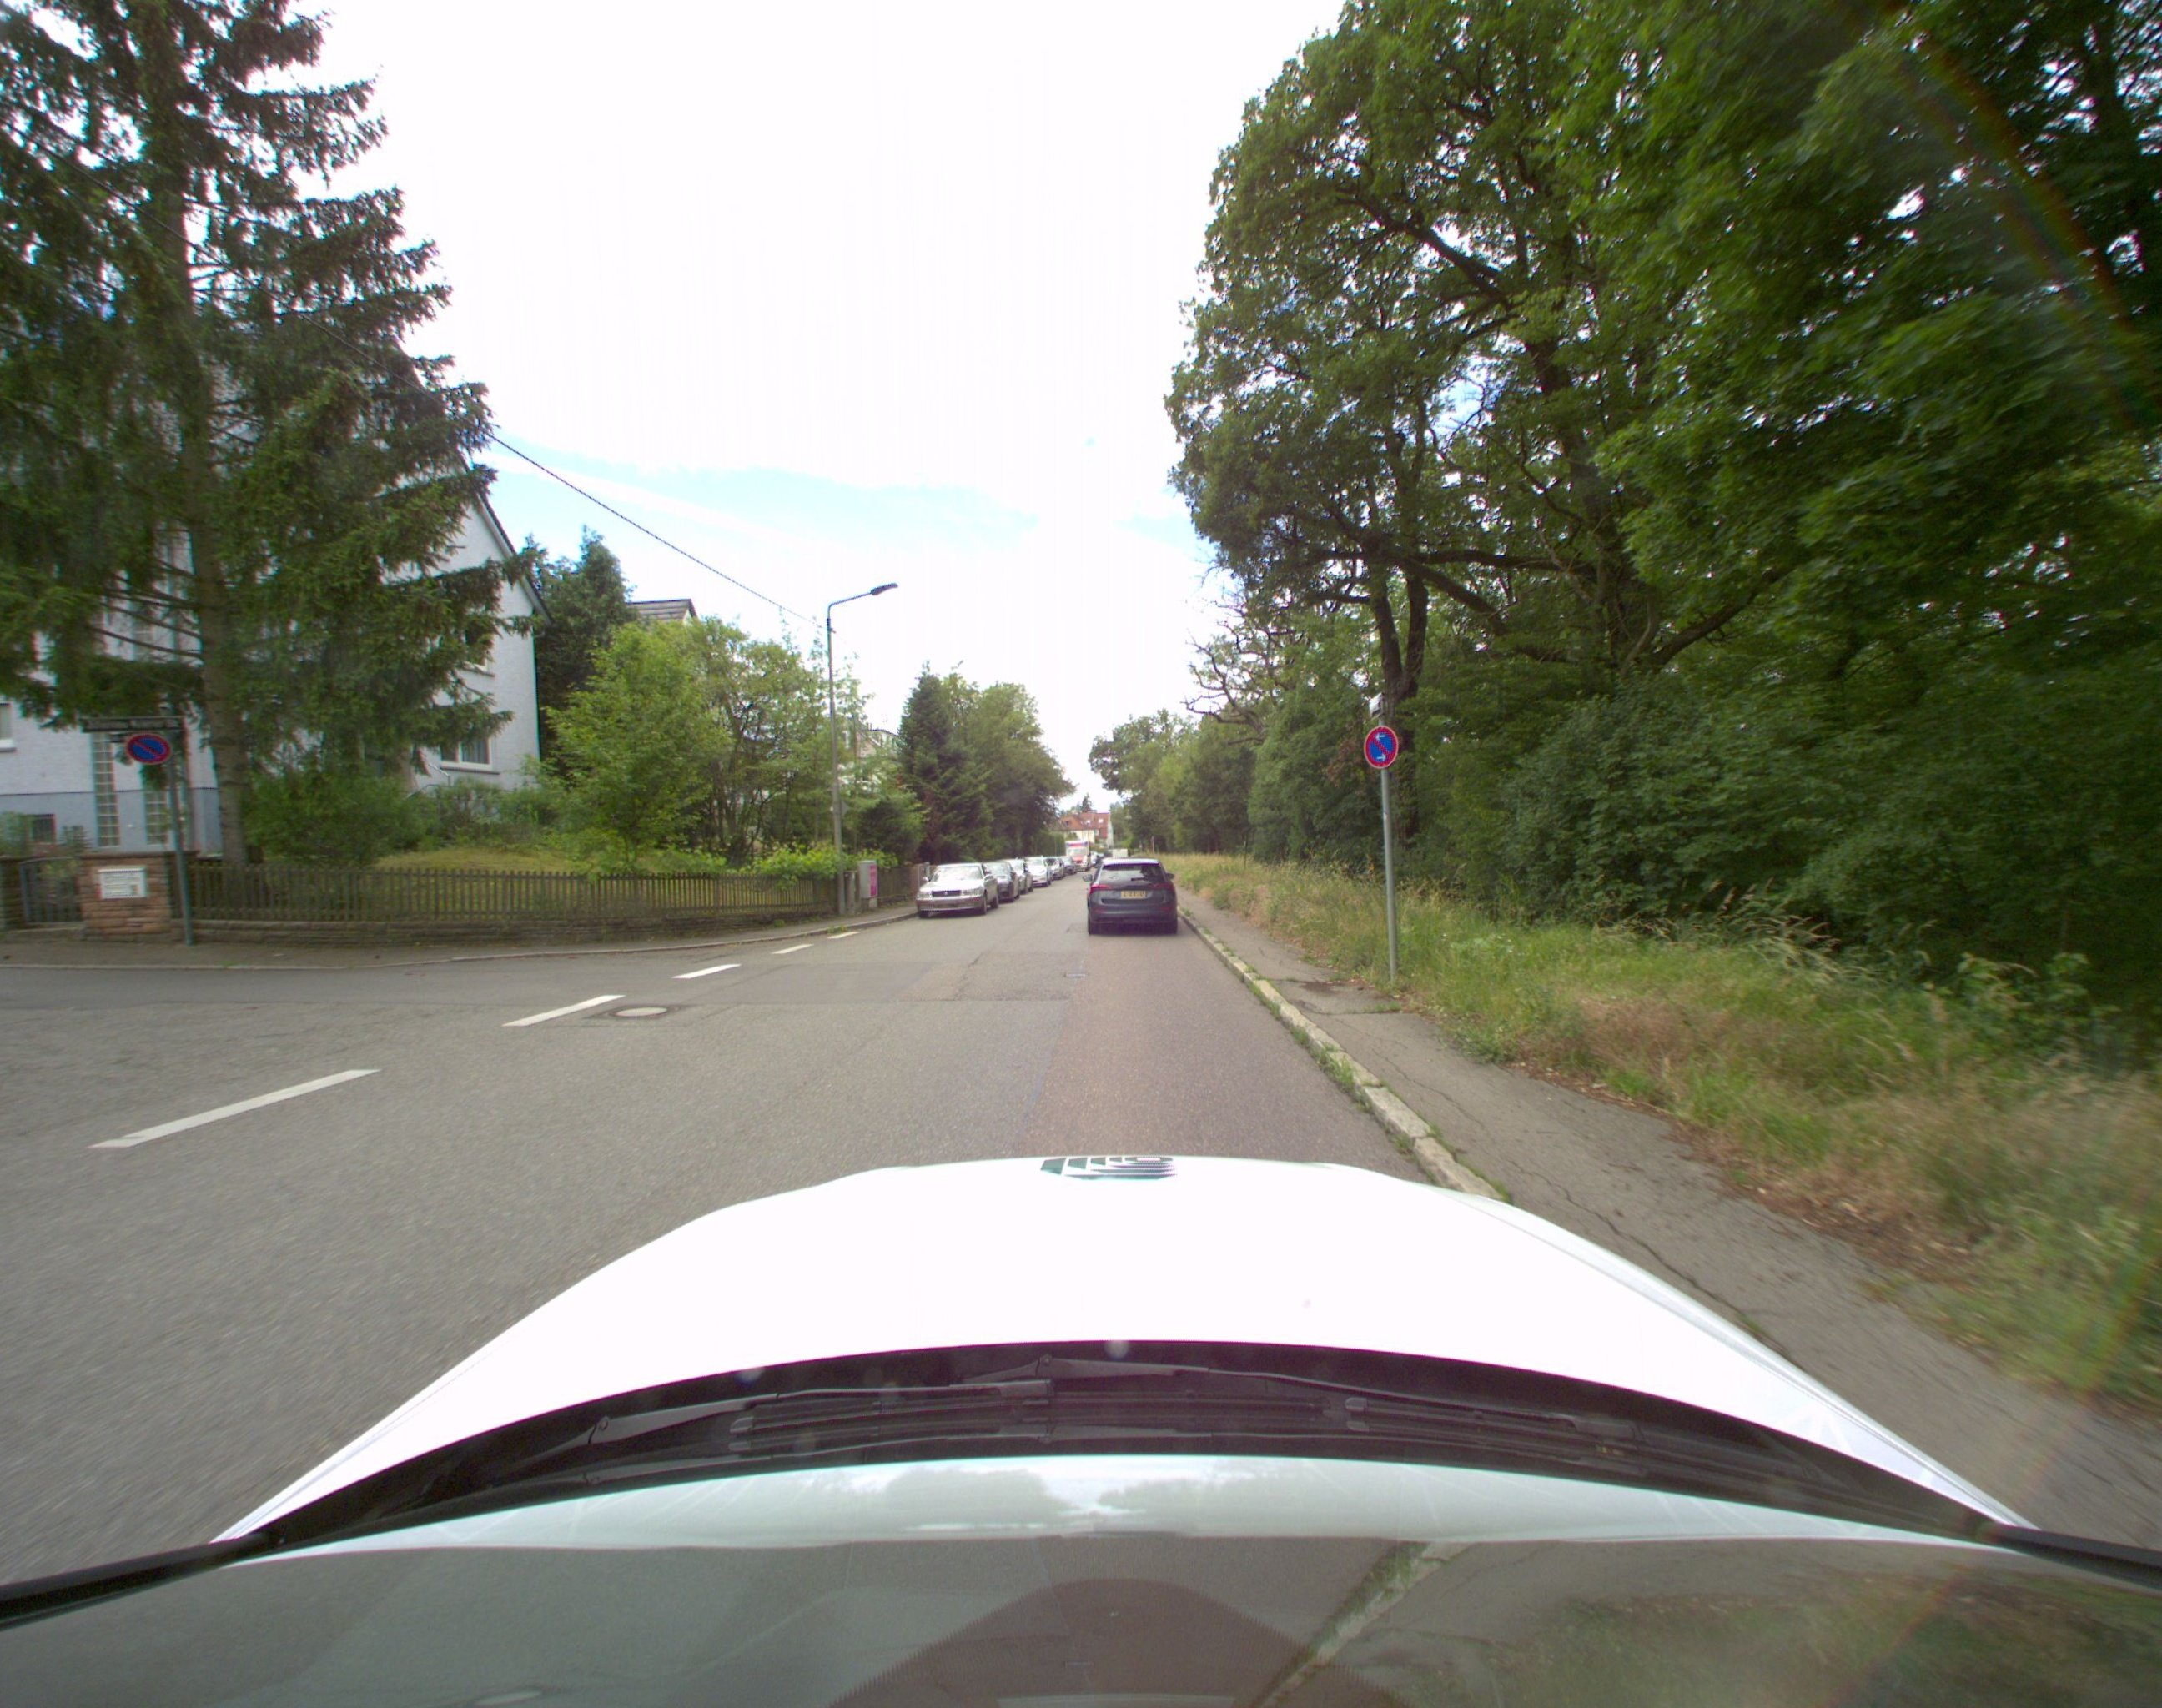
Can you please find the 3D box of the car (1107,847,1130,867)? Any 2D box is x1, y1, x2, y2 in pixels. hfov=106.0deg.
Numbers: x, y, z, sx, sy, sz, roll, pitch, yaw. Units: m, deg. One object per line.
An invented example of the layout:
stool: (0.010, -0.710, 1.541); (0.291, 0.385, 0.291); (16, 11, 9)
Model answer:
car: (3.789, 0.257, 83.709); (2.065, 1.922, 4.921); (-1, 0, -1)

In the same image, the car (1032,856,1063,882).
car: (-2.104, 0.929, 52.315); (1.715, 1.505, 4.007); (-4, 0, 0)

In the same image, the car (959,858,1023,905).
car: (-3.123, 0.915, 29.034); (1.729, 1.439, 4.261); (-3, 0, 0)

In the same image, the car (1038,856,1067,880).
car: (-1.969, 0.984, 57.680); (1.714, 1.505, 4.062); (-4, 0, 2)

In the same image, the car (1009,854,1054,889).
car: (-2.490, 0.835, 42.033); (1.910, 1.562, 4.603); (-4, 0, 0)

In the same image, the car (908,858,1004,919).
car: (-3.401, 0.888, 23.125); (1.842, 1.439, 4.910); (-3, 0, 1)

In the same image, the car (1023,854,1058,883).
car: (-2.294, 0.819, 47.457); (1.715, 1.504, 3.817); (-4, 0, 0)

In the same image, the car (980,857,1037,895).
car: (-3.033, 0.908, 35.045); (1.827, 1.439, 4.119); (-3, 0, 2)

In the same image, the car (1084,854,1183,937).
car: (0.959, 0.752, 16.912); (1.722, 1.439, 4.323); (-1, 0, 0)

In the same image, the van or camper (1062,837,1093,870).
van or camper: (-0.277, -0.039, 76.335); (2.447, 2.895, 7.171); (-3, 0, 2)

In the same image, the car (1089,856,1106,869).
car: (2.047, 0.989, 99.082); (1.756, 1.446, 4.478); (-3, 0, 4)

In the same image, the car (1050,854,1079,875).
car: (-1.259, 0.793, 65.220); (1.790, 1.505, 4.869); (-4, 0, 4)
